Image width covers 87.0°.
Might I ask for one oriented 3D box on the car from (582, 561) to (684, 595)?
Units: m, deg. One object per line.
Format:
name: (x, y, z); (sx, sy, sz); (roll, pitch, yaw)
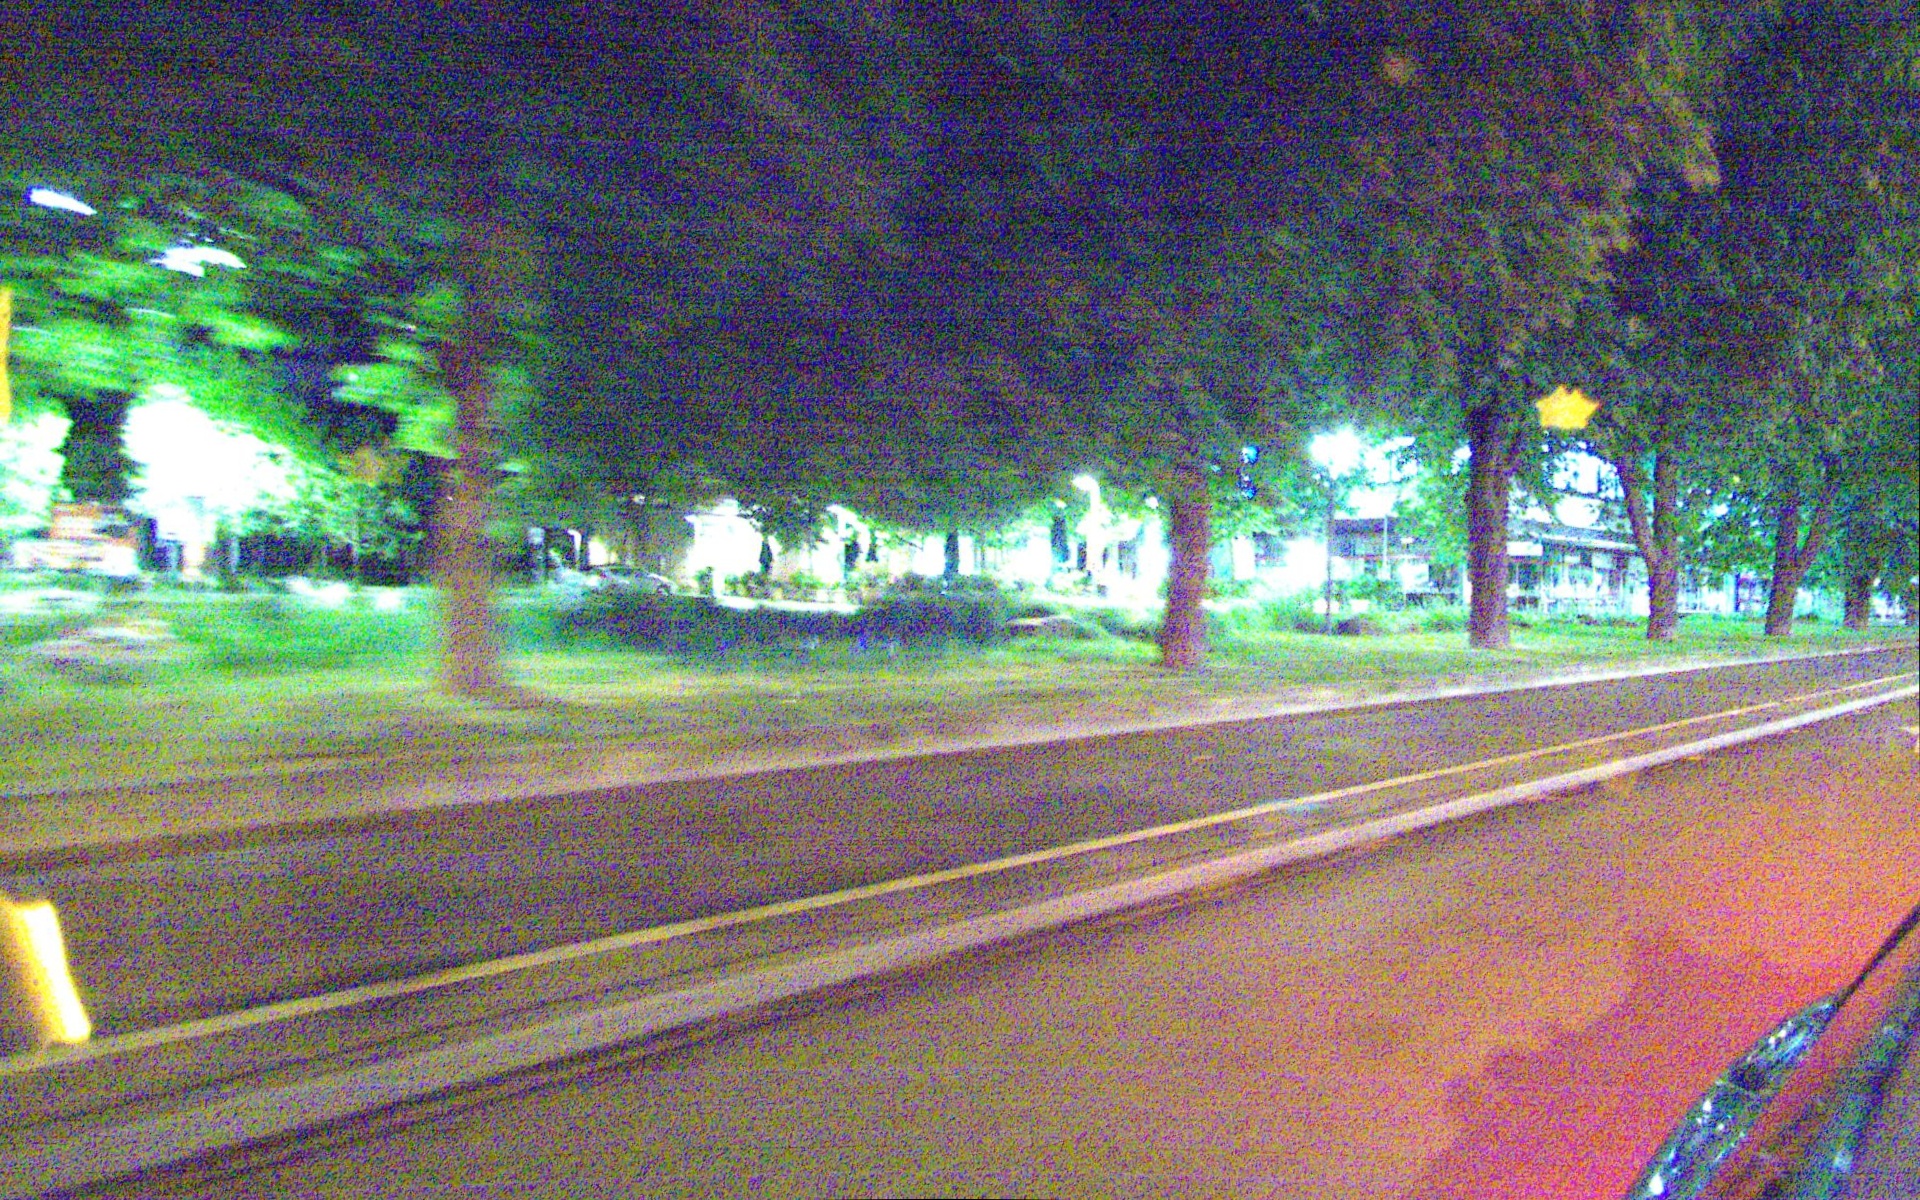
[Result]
car: (-15.701, -1.045, 48.612); (4.223, 1.526, 1.999); (0, 2, -39)
